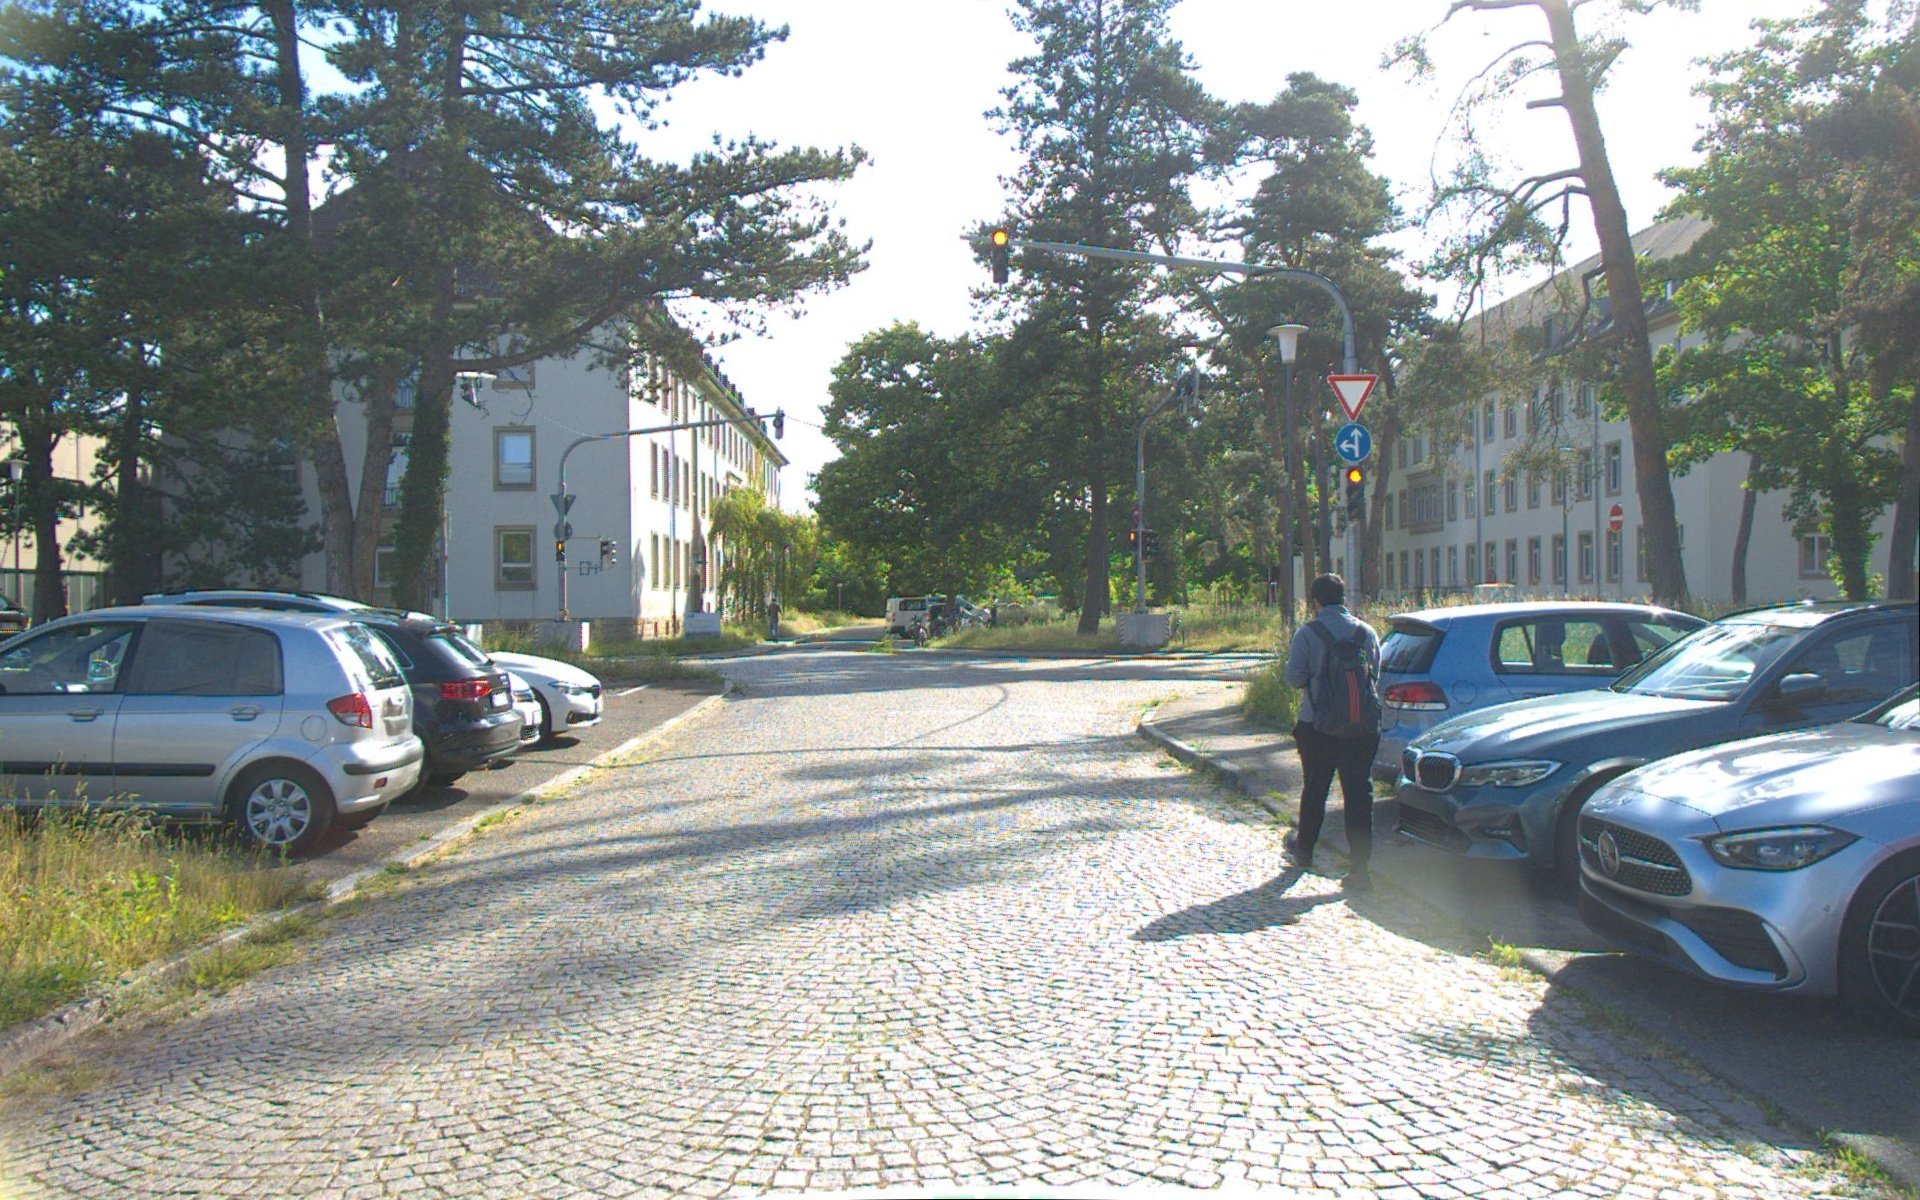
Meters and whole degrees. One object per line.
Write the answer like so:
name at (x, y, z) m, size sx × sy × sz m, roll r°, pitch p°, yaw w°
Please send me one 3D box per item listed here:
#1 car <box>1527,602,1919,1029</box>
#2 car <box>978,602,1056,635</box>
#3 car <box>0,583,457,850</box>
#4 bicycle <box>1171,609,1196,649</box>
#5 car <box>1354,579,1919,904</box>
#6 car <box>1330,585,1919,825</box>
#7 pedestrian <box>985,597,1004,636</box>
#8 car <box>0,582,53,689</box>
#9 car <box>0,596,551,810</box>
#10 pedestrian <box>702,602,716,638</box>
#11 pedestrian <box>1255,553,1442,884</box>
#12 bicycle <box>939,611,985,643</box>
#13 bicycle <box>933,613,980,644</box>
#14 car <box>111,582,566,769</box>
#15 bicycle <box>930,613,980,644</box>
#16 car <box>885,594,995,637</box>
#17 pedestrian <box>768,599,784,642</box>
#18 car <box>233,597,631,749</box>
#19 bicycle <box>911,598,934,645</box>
car at (4.785, 0.701, 6.733) m, size 4.311 × 1.413 × 1.788 m, roll -2°, pitch 0°, yaw -3°
car at (2.849, 0.908, 82.741) m, size 3.674 × 1.607 × 1.738 m, roll 0°, pitch 0°, yaw -9°
car at (-5.364, 0.698, 10.841) m, size 3.613 × 1.554 × 1.698 m, roll 2°, pitch 0°, yaw -4°
bicycle at (6.648, 0.855, 49.139) m, size 0.706 × 1.134 × 2.585 m, roll -1°, pitch 0°, yaw 8°
car at (4.782, 0.680, 9.450) m, size 4.529 × 1.481 × 1.868 m, roll -3°, pitch 0°, yaw -4°
car at (4.705, 0.708, 12.020) m, size 3.599 × 1.468 × 1.665 m, roll -2°, pitch 0°, yaw -2°
pedestrian at (1.623, 0.753, 77.164) m, size 0.746 × 1.815 × 0.682 m, roll -1°, pitch 0°, yaw -9°
car at (-16.731, 0.573, 25.763) m, size 4.059 × 1.636 × 2.009 m, roll -1°, pitch 0°, yaw -1°
car at (-5.497, 0.793, 13.498) m, size 3.859 × 1.470 × 1.690 m, roll 3°, pitch 0°, yaw -3°
pedestrian at (-11.286, 0.898, 74.420) m, size 0.595 × 1.587 × 0.544 m, roll 0°, pitch 0°, yaw -8°
pedestrian at (2.192, 0.647, 9.431) m, size 0.738 × 1.755 × 0.828 m, roll 4°, pitch -1°, yaw -2°
bicycle at (0.078, 1.013, 62.045) m, size 1.694 × 1.185 × 0.560 m, roll -1°, pitch 0°, yaw -5°
bicycle at (-0.133, 1.050, 61.356) m, size 1.694 × 1.132 × 0.483 m, roll -1°, pitch 0°, yaw -5°
car at (-5.976, 0.714, 16.253) m, size 3.802 × 1.643 × 1.659 m, roll 2°, pitch 0°, yaw -3°
bicycle at (-0.183, 1.048, 60.810) m, size 1.798 × 1.132 × 0.495 m, roll -1°, pitch 0°, yaw -5°
car at (-0.979, 0.712, 78.690) m, size 4.976 × 1.952 × 1.994 m, roll -1°, pitch 0°, yaw -11°
pedestrian at (-7.598, 0.832, 68.404) m, size 0.596 × 1.783 × 0.629 m, roll 0°, pitch 0°, yaw -11°
car at (-5.928, 0.790, 18.886) m, size 3.904 × 1.522 × 1.773 m, roll 2°, pitch 0°, yaw 3°
bicycle at (-1.323, 0.740, 57.484) m, size 0.738 × 1.608 × 2.535 m, roll 0°, pitch 0°, yaw -2°
